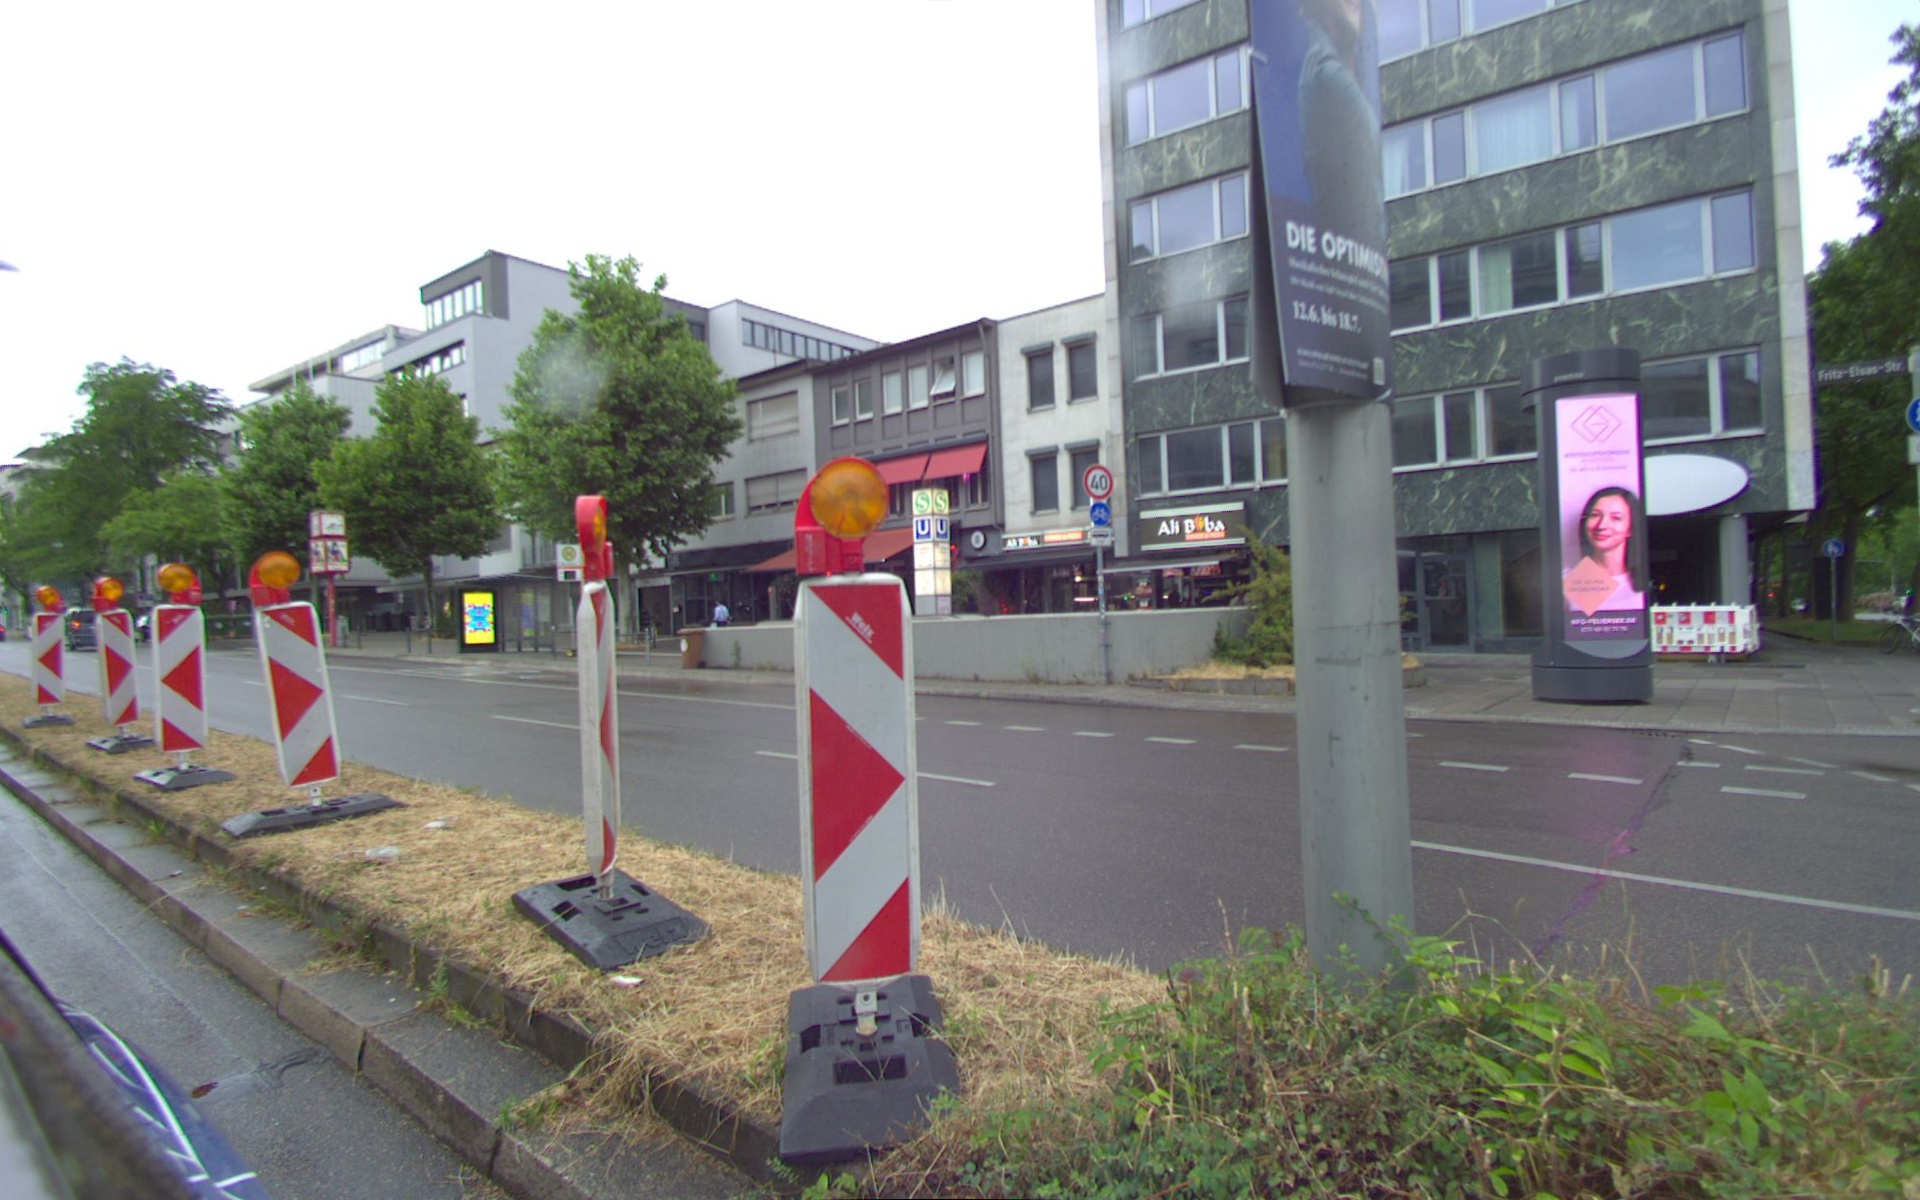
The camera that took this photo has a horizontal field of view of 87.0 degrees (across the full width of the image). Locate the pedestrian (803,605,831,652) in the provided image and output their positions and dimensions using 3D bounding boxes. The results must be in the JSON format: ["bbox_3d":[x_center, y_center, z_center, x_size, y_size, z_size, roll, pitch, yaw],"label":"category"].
[{"bbox_3d":[-4.769,0.929,33.737,0.611,1.540,0.660,-2,-1,44],"label":"pedestrian"}]

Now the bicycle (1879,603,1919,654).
[{"bbox_3d":[20.760,0.596,21.487,1.780,1.060,0.579,-1,-1,37],"label":"bicycle"}]

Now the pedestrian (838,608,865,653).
[{"bbox_3d":[-3.762,1.038,35.023,0.611,1.540,0.660,-2,-1,44],"label":"pedestrian"}]

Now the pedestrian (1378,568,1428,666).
[{"bbox_3d":[9.352,0.347,21.386,0.588,2.029,0.730,0,-1,-29],"label":"pedestrian"}]

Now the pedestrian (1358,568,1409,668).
[{"bbox_3d":[8.815,0.367,21.069,0.588,2.029,0.730,0,-1,-29],"label":"pedestrian"}]

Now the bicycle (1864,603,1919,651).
[{"bbox_3d":[21.255,0.591,22.395,1.780,1.060,0.579,-1,-1,37],"label":"bicycle"}]

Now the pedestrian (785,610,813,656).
[{"bbox_3d":[-5.463,1.123,34.331,0.611,1.540,0.660,-2,-1,44],"label":"pedestrian"}]

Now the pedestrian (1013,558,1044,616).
[{"bbox_3d":[2.232,-0.420,32.878,0.791,1.837,0.603,-1,0,36],"label":"pedestrian"}]

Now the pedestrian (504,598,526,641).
[{"bbox_3d":[-21.643,0.938,49.169,0.764,2.029,0.768,-1,0,-41],"label":"pedestrian"}]

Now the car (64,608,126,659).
[{"bbox_3d":[-38.842,1.452,45.387,1.969,1.941,4.972,-1,3,-42],"label":"car"}]

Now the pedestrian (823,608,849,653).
[{"bbox_3d":[-4.358,1.071,35.490,0.611,1.540,0.660,-2,-1,44],"label":"pedestrian"}]

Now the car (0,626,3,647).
[{"bbox_3d":[-71.454,2.672,73.754,4.282,1.522,1.673,-2,-1,36],"label":"car"}]

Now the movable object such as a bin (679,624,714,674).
[{"bbox_3d":[-6.109,1.128,23.457,0.660,1.109,0.501,-1,0,39],"label":"movable object such as a bin"}]

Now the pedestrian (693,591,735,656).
[{"bbox_3d":[-7.853,0.734,32.349,0.943,2.029,0.910,-1,0,41],"label":"pedestrian"}]
